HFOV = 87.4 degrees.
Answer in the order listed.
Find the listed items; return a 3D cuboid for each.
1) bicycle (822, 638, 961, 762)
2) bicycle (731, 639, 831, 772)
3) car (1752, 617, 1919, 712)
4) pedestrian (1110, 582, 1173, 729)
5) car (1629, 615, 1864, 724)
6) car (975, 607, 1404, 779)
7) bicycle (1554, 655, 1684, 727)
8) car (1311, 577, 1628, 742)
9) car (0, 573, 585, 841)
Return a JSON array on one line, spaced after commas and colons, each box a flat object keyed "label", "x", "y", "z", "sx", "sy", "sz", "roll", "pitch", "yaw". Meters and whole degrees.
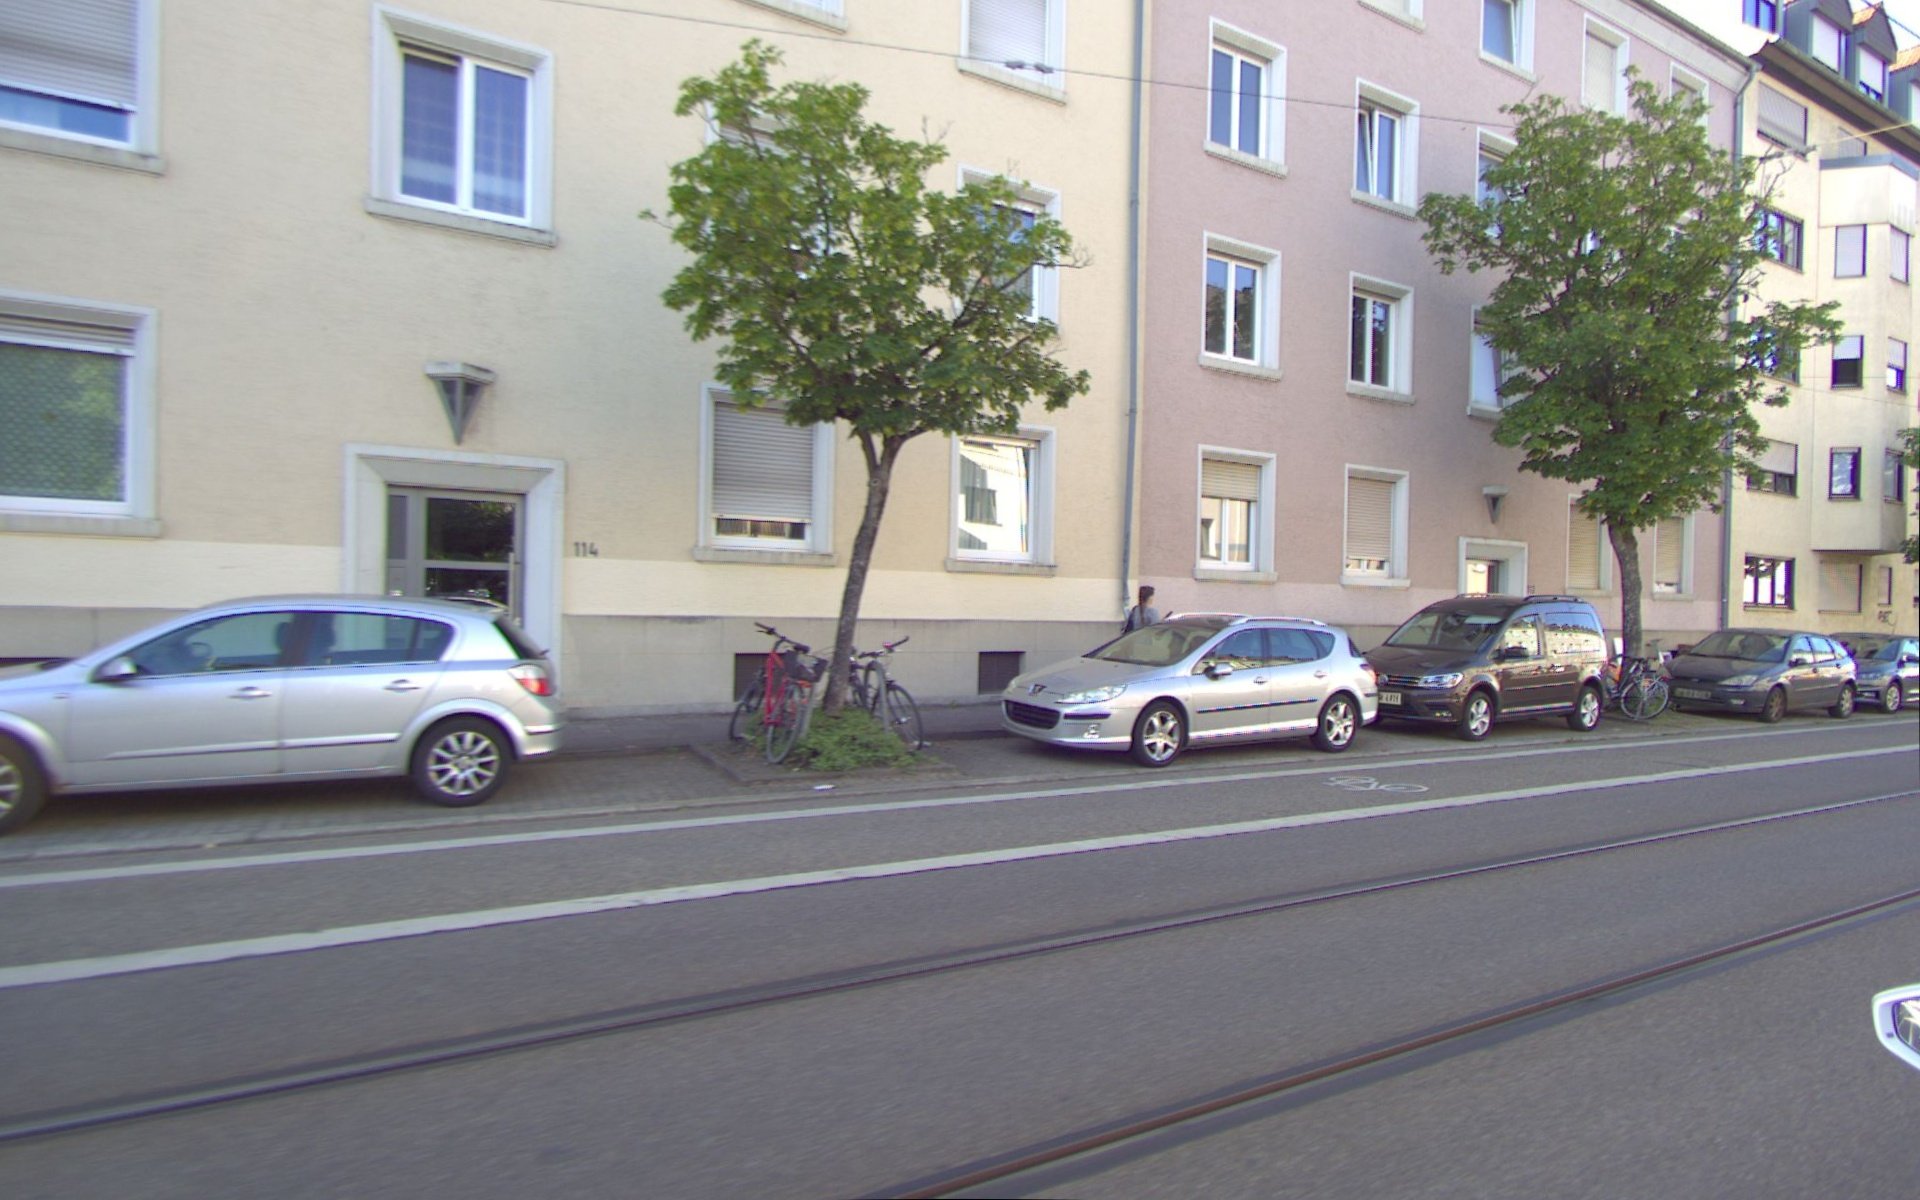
[{"label": "bicycle", "x": -0.707, "y": 0.929, "z": 9.846, "sx": 0.472, "sy": 1.015, "sz": 1.652, "roll": 1, "pitch": 1, "yaw": -39}, {"label": "bicycle", "x": -1.690, "y": 0.922, "z": 9.306, "sx": 0.470, "sy": 1.015, "sz": 1.661, "roll": 1, "pitch": 1, "yaw": -25}, {"label": "car", "x": 17.757, "y": 1.219, "z": 19.917, "sx": 4.015, "sy": 1.641, "sz": 1.800, "roll": 1, "pitch": 1, "yaw": -29}, {"label": "pedestrian", "x": 2.362, "y": 0.703, "z": 13.064, "sx": 0.536, "sy": 1.850, "sz": 0.534, "roll": 1, "pitch": 1, "yaw": -29}, {"label": "car", "x": 13.728, "y": 1.141, "z": 17.503, "sx": 4.015, "sy": 1.641, "sz": 1.800, "roll": 1, "pitch": 1, "yaw": -29}, {"label": "car", "x": 2.616, "y": 0.908, "z": 11.152, "sx": 4.624, "sy": 1.528, "sz": 1.800, "roll": 1, "pitch": 1, "yaw": -29}, {"label": "bicycle", "x": 10.330, "y": 1.397, "z": 15.802, "sx": 0.511, "sy": 0.950, "sz": 1.622, "roll": 1, "pitch": 1, "yaw": -32}, {"label": "car", "x": 7.081, "y": 0.746, "z": 13.878, "sx": 4.281, "sy": 1.969, "sz": 1.800, "roll": 1, "pitch": 1, "yaw": -29}, {"label": "car", "x": -4.999, "y": 0.632, "z": 7.142, "sx": 4.140, "sy": 1.528, "sz": 1.800, "roll": 1, "pitch": 1, "yaw": -29}]
